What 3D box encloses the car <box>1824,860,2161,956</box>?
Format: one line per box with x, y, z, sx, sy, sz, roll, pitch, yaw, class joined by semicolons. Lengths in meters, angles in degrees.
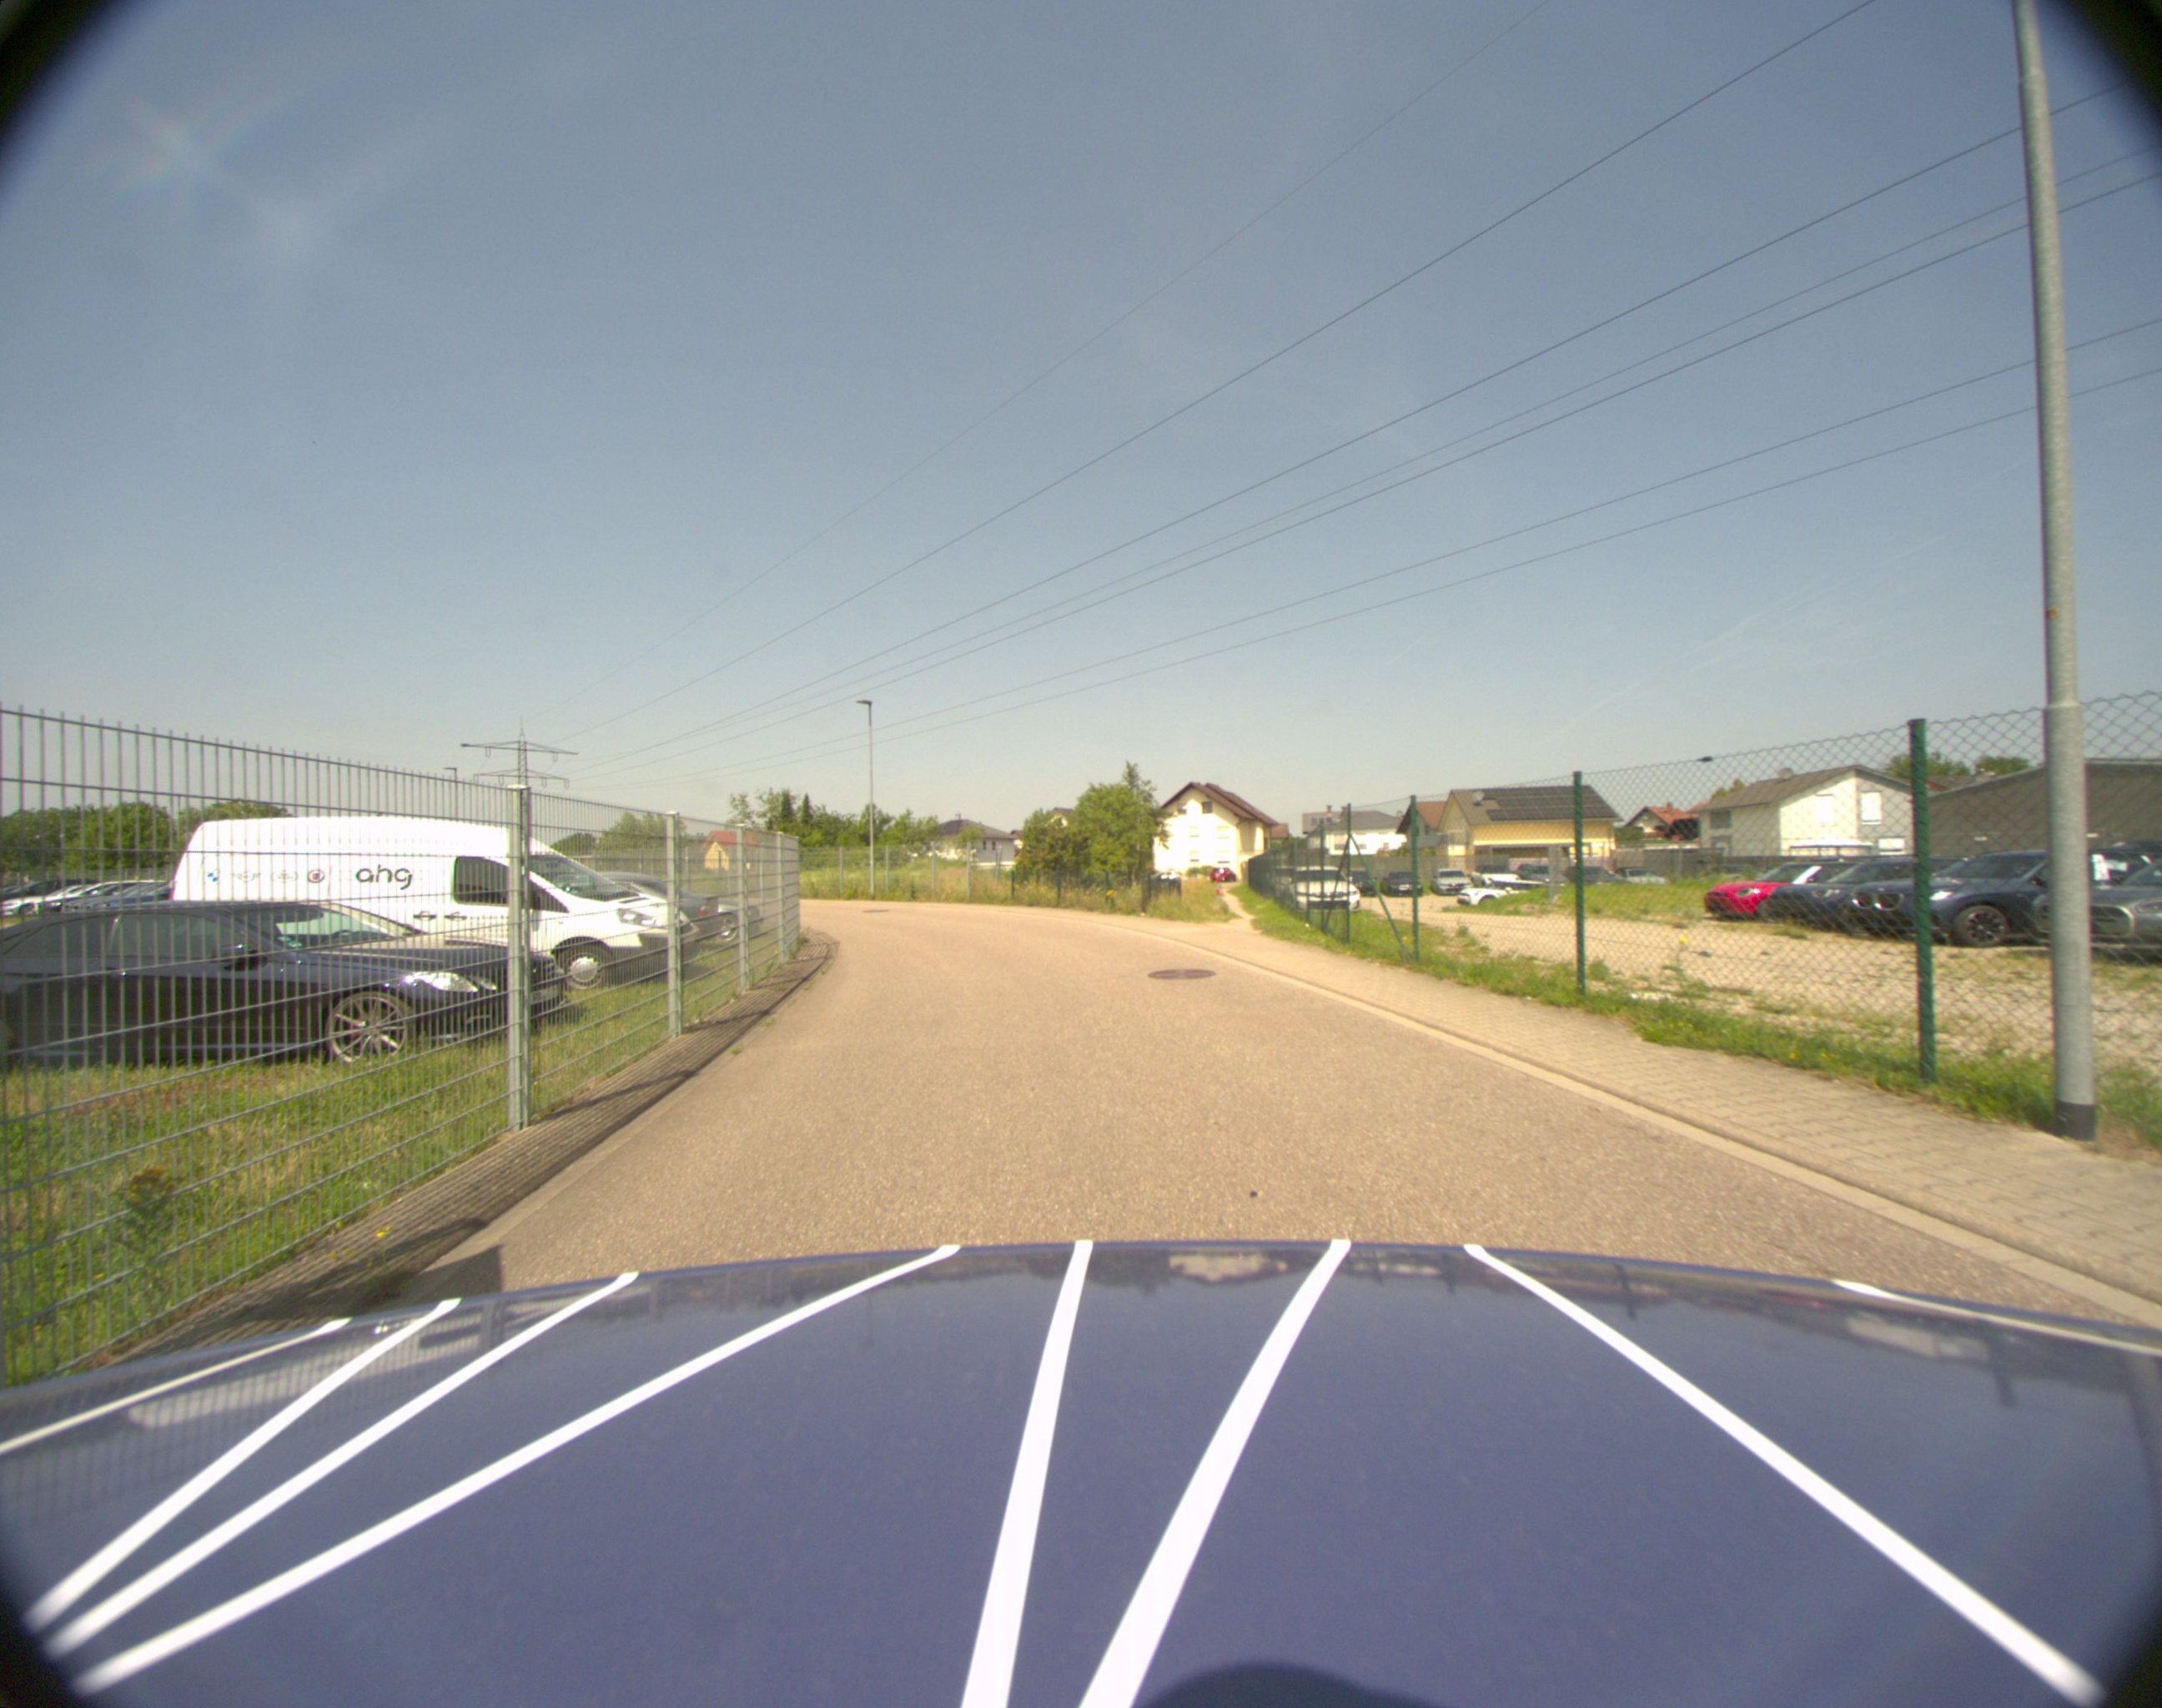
16.056;0.909;13.480;3.691;1.552;1.870;-1;0;9;car

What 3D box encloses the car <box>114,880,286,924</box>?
-35.474;1.871;30.759;1.634;1.330;4.183;-1;2;25;car

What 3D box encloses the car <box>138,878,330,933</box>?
-29.829;1.755;26.931;1.634;1.466;4.183;-1;2;25;car

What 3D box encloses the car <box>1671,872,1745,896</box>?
35.409;1.673;43.035;1.791;1.229;3.612;-1;0;13;car

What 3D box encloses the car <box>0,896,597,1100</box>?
-7.163;1.143;6.726;4.435;1.352;1.905;-1;0;-8;car

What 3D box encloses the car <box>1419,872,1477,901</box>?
21.436;1.874;44.548;2.039;1.527;4.138;-1;0;10;car

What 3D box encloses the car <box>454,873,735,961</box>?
-9.159;1.126;14.738;4.364;1.387;1.613;-1;0;-27;car

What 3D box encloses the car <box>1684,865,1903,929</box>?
17.206;1.026;18.529;3.436;1.445;1.870;-1;0;9;car

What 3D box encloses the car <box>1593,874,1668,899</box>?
30.622;1.791;42.468;1.791;1.229;4.138;-1;0;10;car

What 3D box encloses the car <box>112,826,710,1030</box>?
-7.825;0.776;9.544;5.344;2.136;1.905;-1;0;-12;car

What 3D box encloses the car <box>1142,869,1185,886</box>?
8.592;2.461;79.331;4.075;1.674;1.868;-1;-1;27;car

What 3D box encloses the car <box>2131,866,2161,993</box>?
15.009;0.901;8.398;3.765;1.545;1.870;-1;0;9;car

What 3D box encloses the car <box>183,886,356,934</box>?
-27.516;1.836;25.892;1.736;1.346;3.681;-1;0;27;car

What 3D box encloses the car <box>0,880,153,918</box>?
-46.097;2.017;34.825;1.634;1.330;4.183;-1;2;25;car

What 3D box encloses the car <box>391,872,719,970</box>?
-8.477;1.027;12.697;4.211;1.349;1.614;-1;0;-19;car

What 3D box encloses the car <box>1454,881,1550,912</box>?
18.630;1.882;33.779;3.386;1.307;1.660;-1;0;11;car

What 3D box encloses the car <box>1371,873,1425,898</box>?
18.647;1.828;44.931;2.039;1.335;4.421;-1;0;10;car

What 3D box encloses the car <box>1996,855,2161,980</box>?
16.093;0.838;10.787;3.628;1.634;1.870;-1;0;9;car

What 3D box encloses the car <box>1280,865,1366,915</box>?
7.181;1.008;22.959;1.865;1.299;4.566;-1;0;10;car

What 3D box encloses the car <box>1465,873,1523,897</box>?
24.126;1.780;44.564;1.791;1.229;4.138;-1;0;10;car

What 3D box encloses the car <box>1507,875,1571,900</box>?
26.444;1.907;44.042;1.791;1.229;4.138;-1;0;10;car

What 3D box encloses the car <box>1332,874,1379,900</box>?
16.141;1.915;44.886;1.865;1.363;4.566;-1;0;10;car

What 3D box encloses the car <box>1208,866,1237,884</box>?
15.058;2.217;80.555;1.862;1.718;4.143;-1;0;27;car

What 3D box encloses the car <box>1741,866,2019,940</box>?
16.579;0.994;15.970;3.643;1.425;1.870;-1;0;9;car
